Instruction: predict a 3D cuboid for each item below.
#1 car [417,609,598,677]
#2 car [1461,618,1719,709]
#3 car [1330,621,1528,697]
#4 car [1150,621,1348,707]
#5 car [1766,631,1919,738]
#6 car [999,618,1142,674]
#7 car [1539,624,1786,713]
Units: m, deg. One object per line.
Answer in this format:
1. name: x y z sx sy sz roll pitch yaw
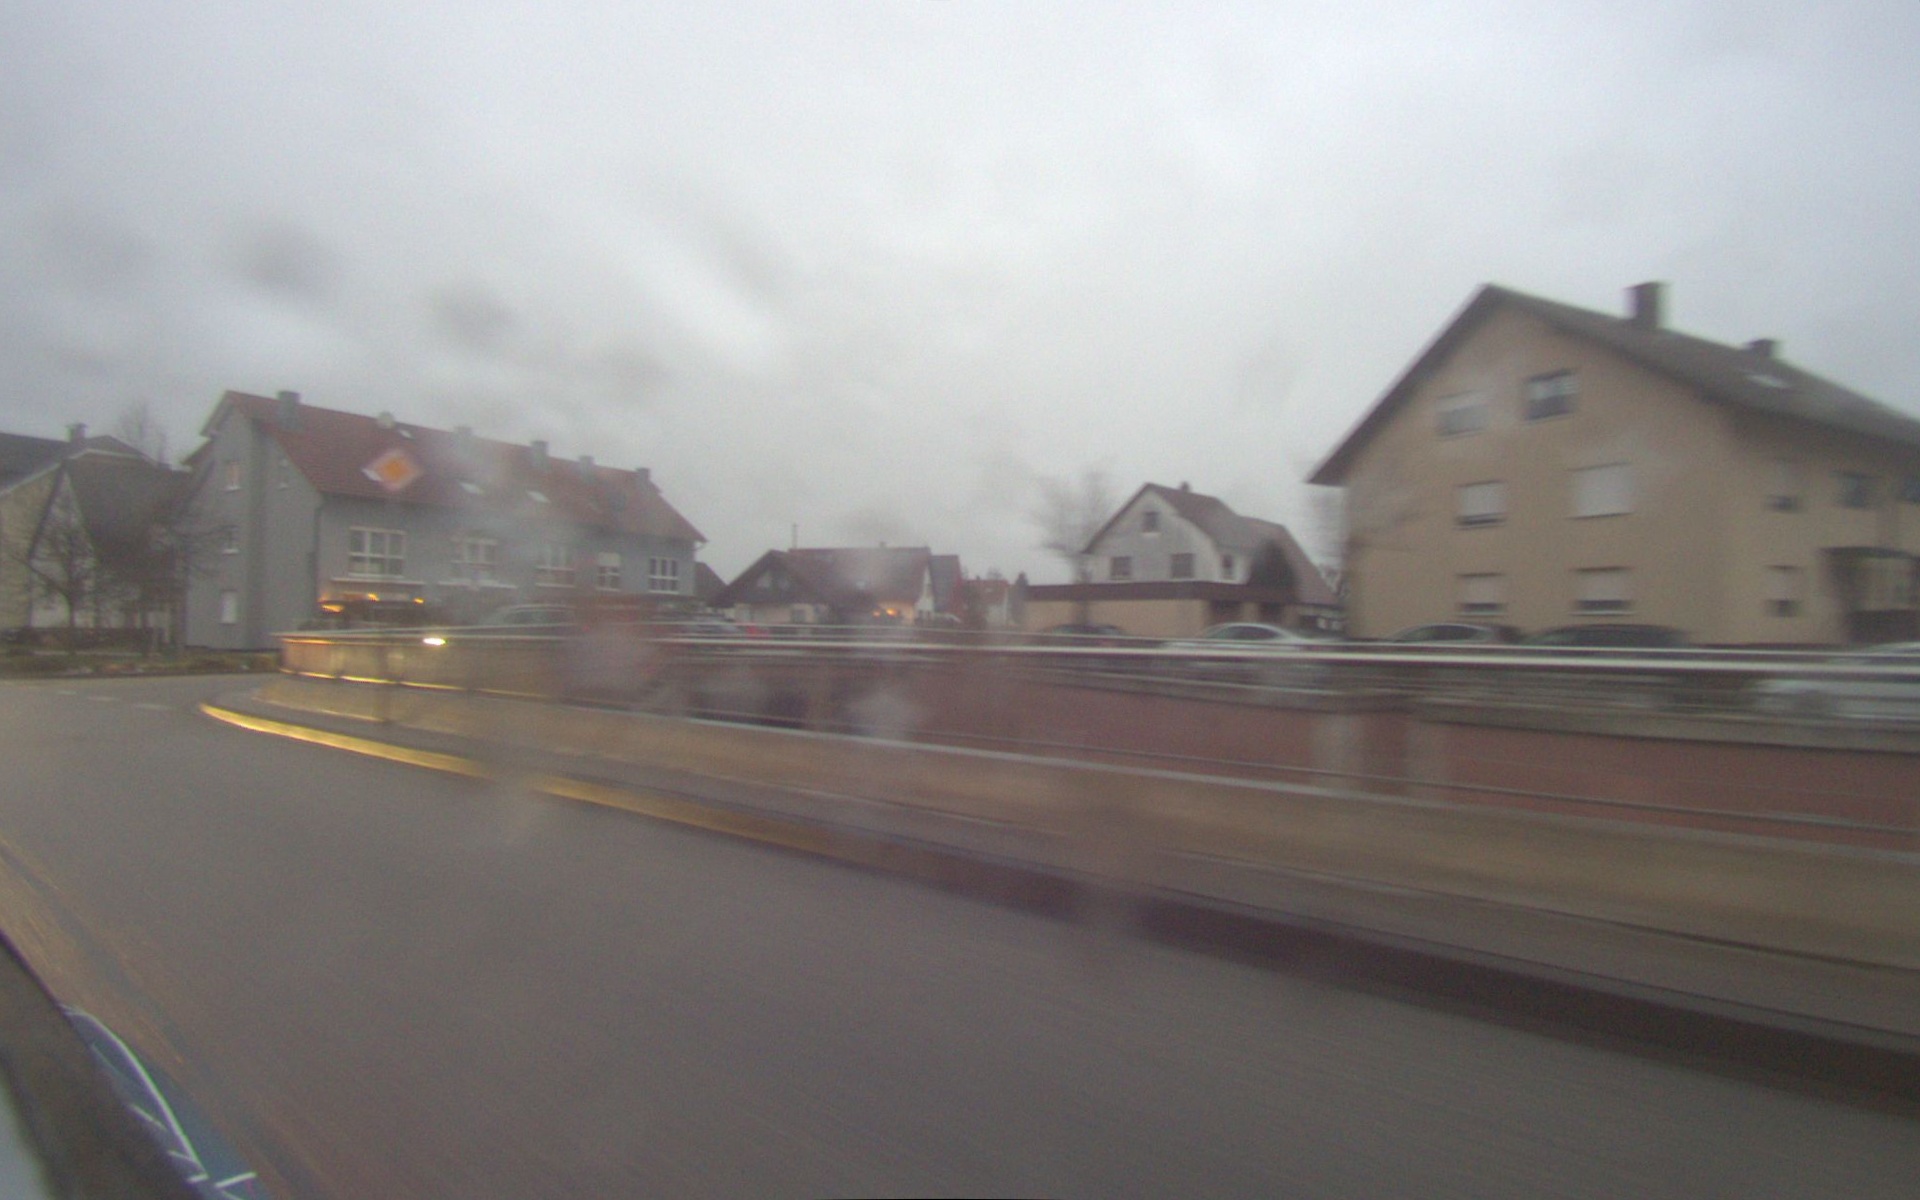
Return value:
1. car: -12.501 1.130 28.061 4.274 1.633 2.005 -1 0 -35
2. car: 12.385 1.158 20.069 1.874 1.529 4.004 -1 1 -43
3. car: 11.384 1.379 24.695 3.999 1.660 1.815 -2 -1 43
4. car: 7.244 1.550 25.569 4.354 1.919 1.973 -2 0 40
5. car: 15.957 1.359 16.636 1.795 1.636 3.988 -1 -1 -43
6. car: 3.141 1.271 29.158 3.833 1.425 1.658 -1 1 42
7. car: 14.704 1.363 21.322 4.002 1.660 1.790 -2 -1 45
